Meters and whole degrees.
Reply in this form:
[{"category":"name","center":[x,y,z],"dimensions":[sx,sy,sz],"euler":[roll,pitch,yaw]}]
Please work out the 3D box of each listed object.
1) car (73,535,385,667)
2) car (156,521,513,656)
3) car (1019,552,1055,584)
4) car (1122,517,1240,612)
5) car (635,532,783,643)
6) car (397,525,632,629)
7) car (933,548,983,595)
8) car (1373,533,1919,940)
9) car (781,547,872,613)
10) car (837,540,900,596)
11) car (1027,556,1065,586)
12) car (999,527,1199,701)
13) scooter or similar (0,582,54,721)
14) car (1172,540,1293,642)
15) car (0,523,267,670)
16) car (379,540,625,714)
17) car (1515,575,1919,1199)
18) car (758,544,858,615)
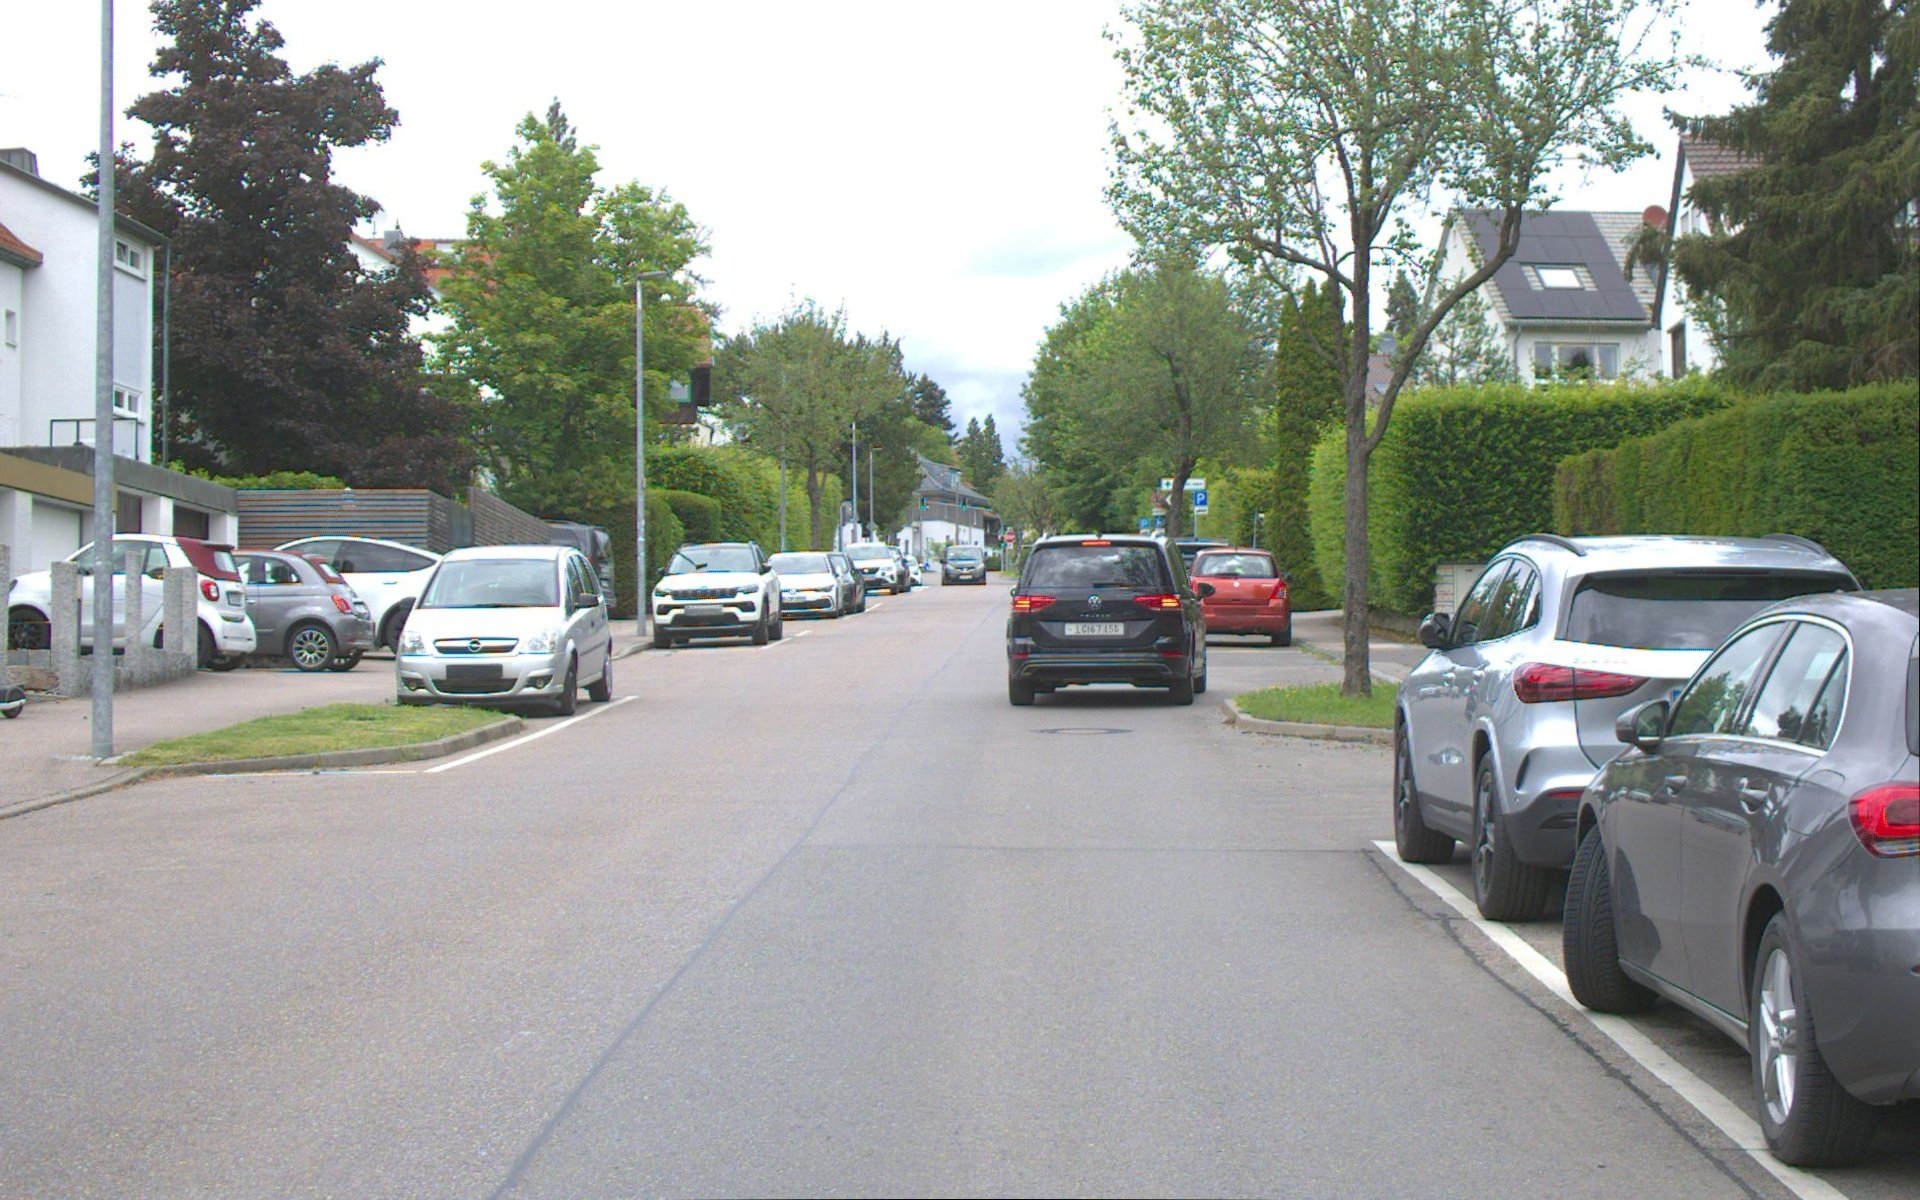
[{"category":"car","center":[-9.041,0.015,42.676],"dimensions":[3.429,1.507,1.692],"euler":[2,0,3]},{"category":"car","center":[-8.408,-0.167,46.472],"dimensions":[4.411,1.623,1.911],"euler":[2,1,1]},{"category":"car","center":[4.037,-1.692,180.491],"dimensions":[1.664,1.662,3.468],"euler":[0,1,-2]},{"category":"car","center":[3.979,-0.645,62.476],"dimensions":[1.994,1.612,4.513],"euler":[2,1,2]},{"category":"car","center":[-3.998,-0.235,55.397],"dimensions":[1.837,1.660,4.408],"euler":[-2,1,3]},{"category":"car","center":[-8.564,-0.423,66.212],"dimensions":[4.074,1.943,1.999],"euler":[0,-1,10]},{"category":"car","center":[-0.074,-1.163,139.814],"dimensions":[1.885,1.844,4.401],"euler":[-1,1,1]},{"category":"car","center":[3.052,0.512,15.487],"dimensions":[1.855,1.576,4.172],"euler":[0,1,0]},{"category":"car","center":[-3.033,-0.467,78.875],"dimensions":[1.727,1.418,4.079],"euler":[-2,0,2]},{"category":"car","center":[-2.600,-0.933,98.507],"dimensions":[1.722,1.535,4.000],"euler":[-2,1,-1]},{"category":"car","center":[4.341,-1.479,173.299],"dimensions":[1.664,1.495,3.468],"euler":[0,1,-2]},{"category":"car","center":[1.384,0.107,33.956],"dimensions":[1.848,1.606,4.311],"euler":[0,0,3]},{"category":"scooter or similar","center":[-8.220,0.432,28.828],"dimensions":[0.474,1.144,1.453],"euler":[2,1,18]},{"category":"car","center":[4.153,-0.163,52.792],"dimensions":[1.661,1.503,3.758],"euler":[0,1,2]},{"category":"car","center":[-9.911,-0.048,39.619],"dimensions":[3.429,1.573,1.656],"euler":[2,0,3]},{"category":"car","center":[-4.404,0.216,33.564],"dimensions":[1.760,1.557,3.855],"euler":[-1,1,1]},{"category":"car","center":[2.871,0.668,9.882],"dimensions":[1.855,1.459,4.172],"euler":[0,1,0]},{"category":"car","center":[-3.236,-0.470,74.019],"dimensions":[1.837,1.417,4.408],"euler":[-2,1,1]}]
